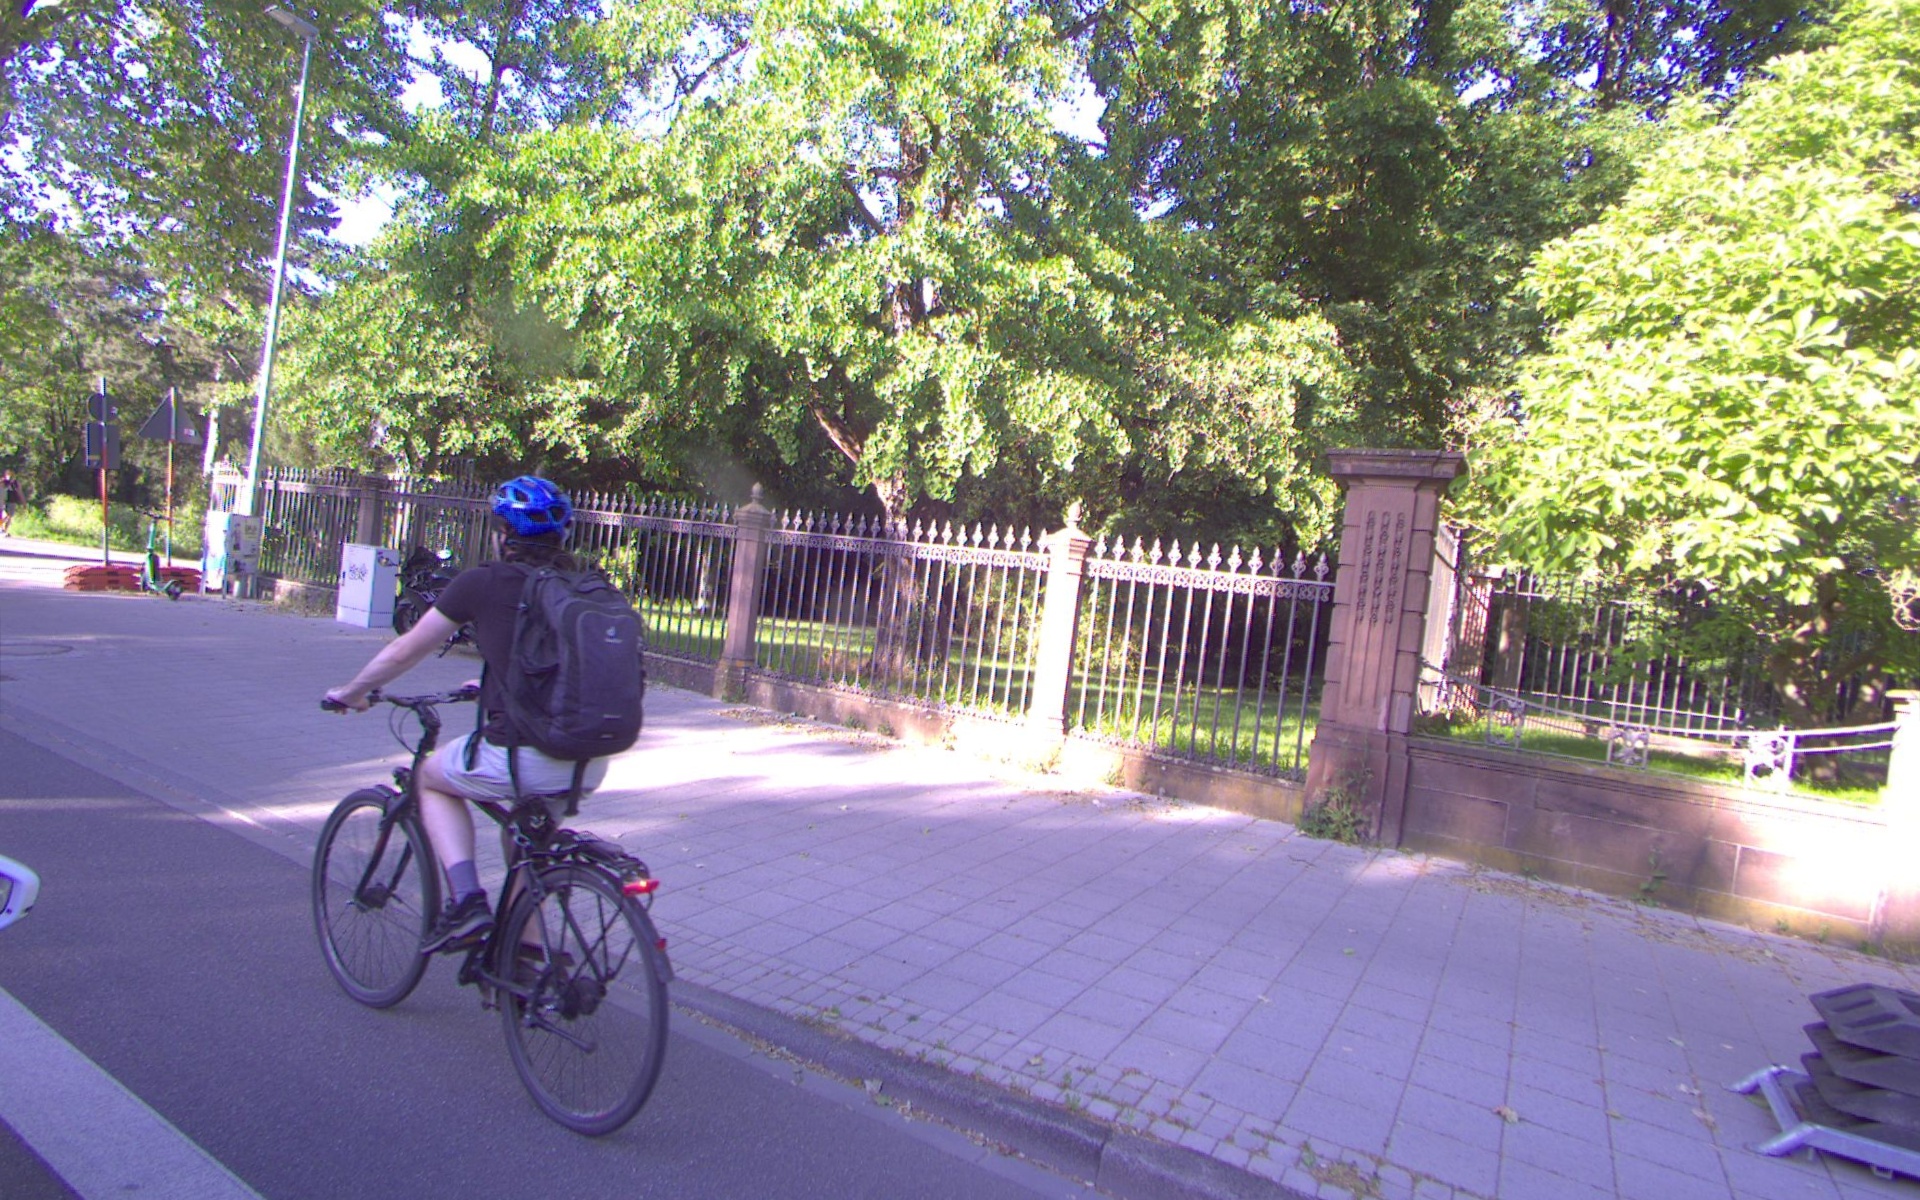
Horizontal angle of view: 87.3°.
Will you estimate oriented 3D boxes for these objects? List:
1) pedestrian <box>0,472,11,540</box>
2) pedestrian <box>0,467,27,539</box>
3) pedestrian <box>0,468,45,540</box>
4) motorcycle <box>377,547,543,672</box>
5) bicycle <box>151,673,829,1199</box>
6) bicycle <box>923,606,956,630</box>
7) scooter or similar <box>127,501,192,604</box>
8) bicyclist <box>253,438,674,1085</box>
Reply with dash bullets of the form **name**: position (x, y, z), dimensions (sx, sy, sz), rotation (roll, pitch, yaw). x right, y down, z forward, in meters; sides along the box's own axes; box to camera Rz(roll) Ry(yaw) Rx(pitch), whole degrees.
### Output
- **pedestrian**: position (-24.630, -2.425, 25.400), dimensions (0.632, 1.721, 0.690), rotation (7, 1, 25)
- **pedestrian**: position (-24.880, -2.547, 26.157), dimensions (0.635, 1.794, 0.617), rotation (7, 1, 25)
- **pedestrian**: position (-25.094, -2.553, 26.719), dimensions (0.817, 1.794, 0.819), rotation (7, 1, 25)
- **motorcycle**: position (-5.611, 0.082, 11.227), dimensions (2.134, 1.146, 0.506), rotation (7, 2, 30)
- **bicycle**: position (-1.464, 0.882, 2.969), dimensions (2.046, 1.021, 0.670), rotation (7, -1, 30)
- **bicycle**: position (-1.049, 0.933, 51.330), dimensions (1.592, 1.027, 0.475), rotation (6, 0, 0)
- **scooter or similar**: position (-11.294, -0.675, 14.184), dimensions (1.152, 1.344, 0.228), rotation (7, 2, 30)
- **bicyclist**: position (-1.457, 0.408, 3.000), dimensions (0.709, 1.621, 0.666), rotation (7, -1, 30)
